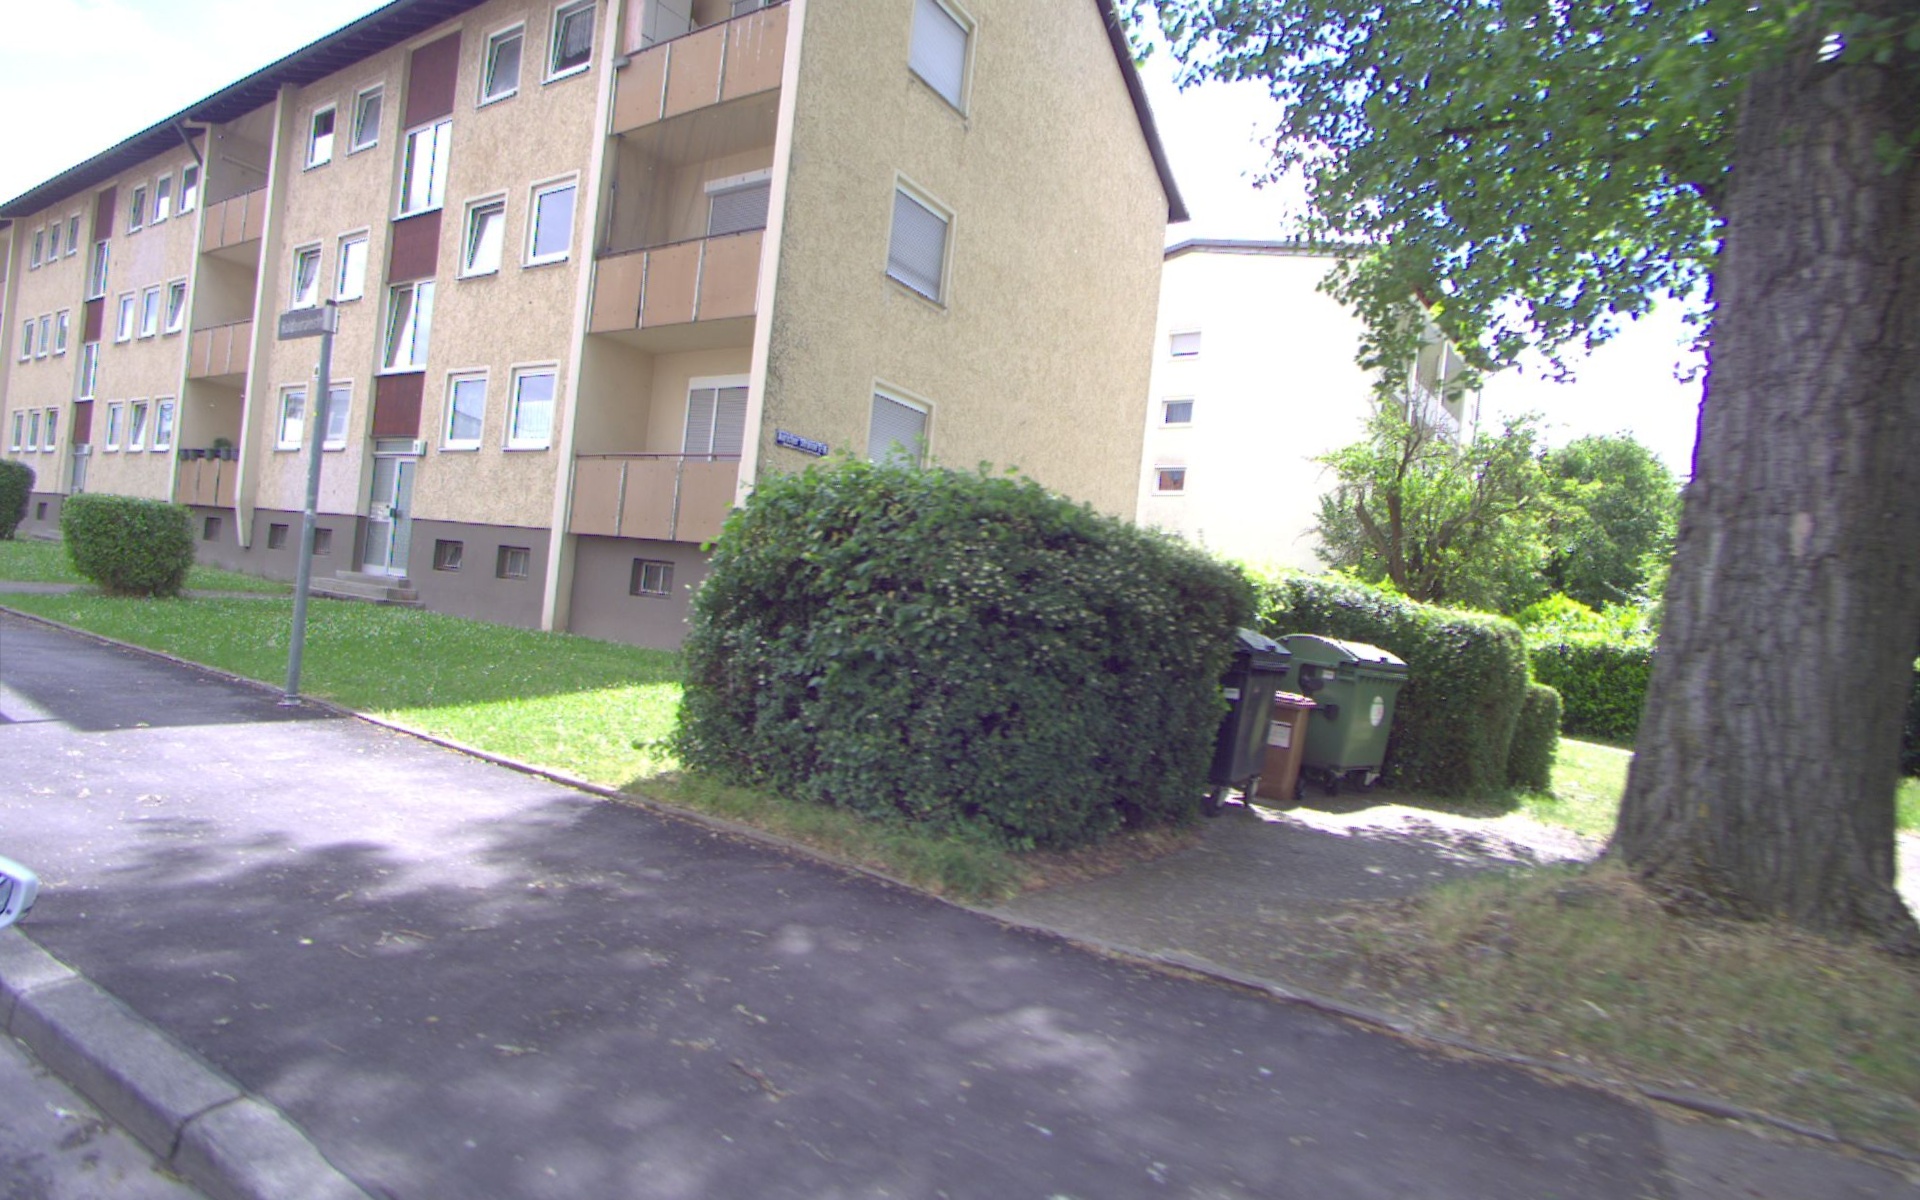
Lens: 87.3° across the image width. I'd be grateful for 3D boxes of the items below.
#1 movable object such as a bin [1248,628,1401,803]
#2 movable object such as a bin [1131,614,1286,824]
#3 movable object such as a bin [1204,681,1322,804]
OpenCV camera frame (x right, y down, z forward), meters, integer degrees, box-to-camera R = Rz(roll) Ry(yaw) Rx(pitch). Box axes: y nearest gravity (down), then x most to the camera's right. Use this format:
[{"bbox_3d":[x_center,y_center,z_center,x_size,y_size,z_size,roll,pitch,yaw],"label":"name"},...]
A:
[{"bbox_3d":[3.568,1.080,9.805,1.039,1.457,1.170,8,2,31],"label":"movable object such as a bin"},{"bbox_3d":[2.003,0.905,8.024,0.748,1.457,1.099,8,2,31],"label":"movable object such as a bin"},{"bbox_3d":[2.742,1.252,9.082,0.749,0.927,0.803,8,2,31],"label":"movable object such as a bin"}]
